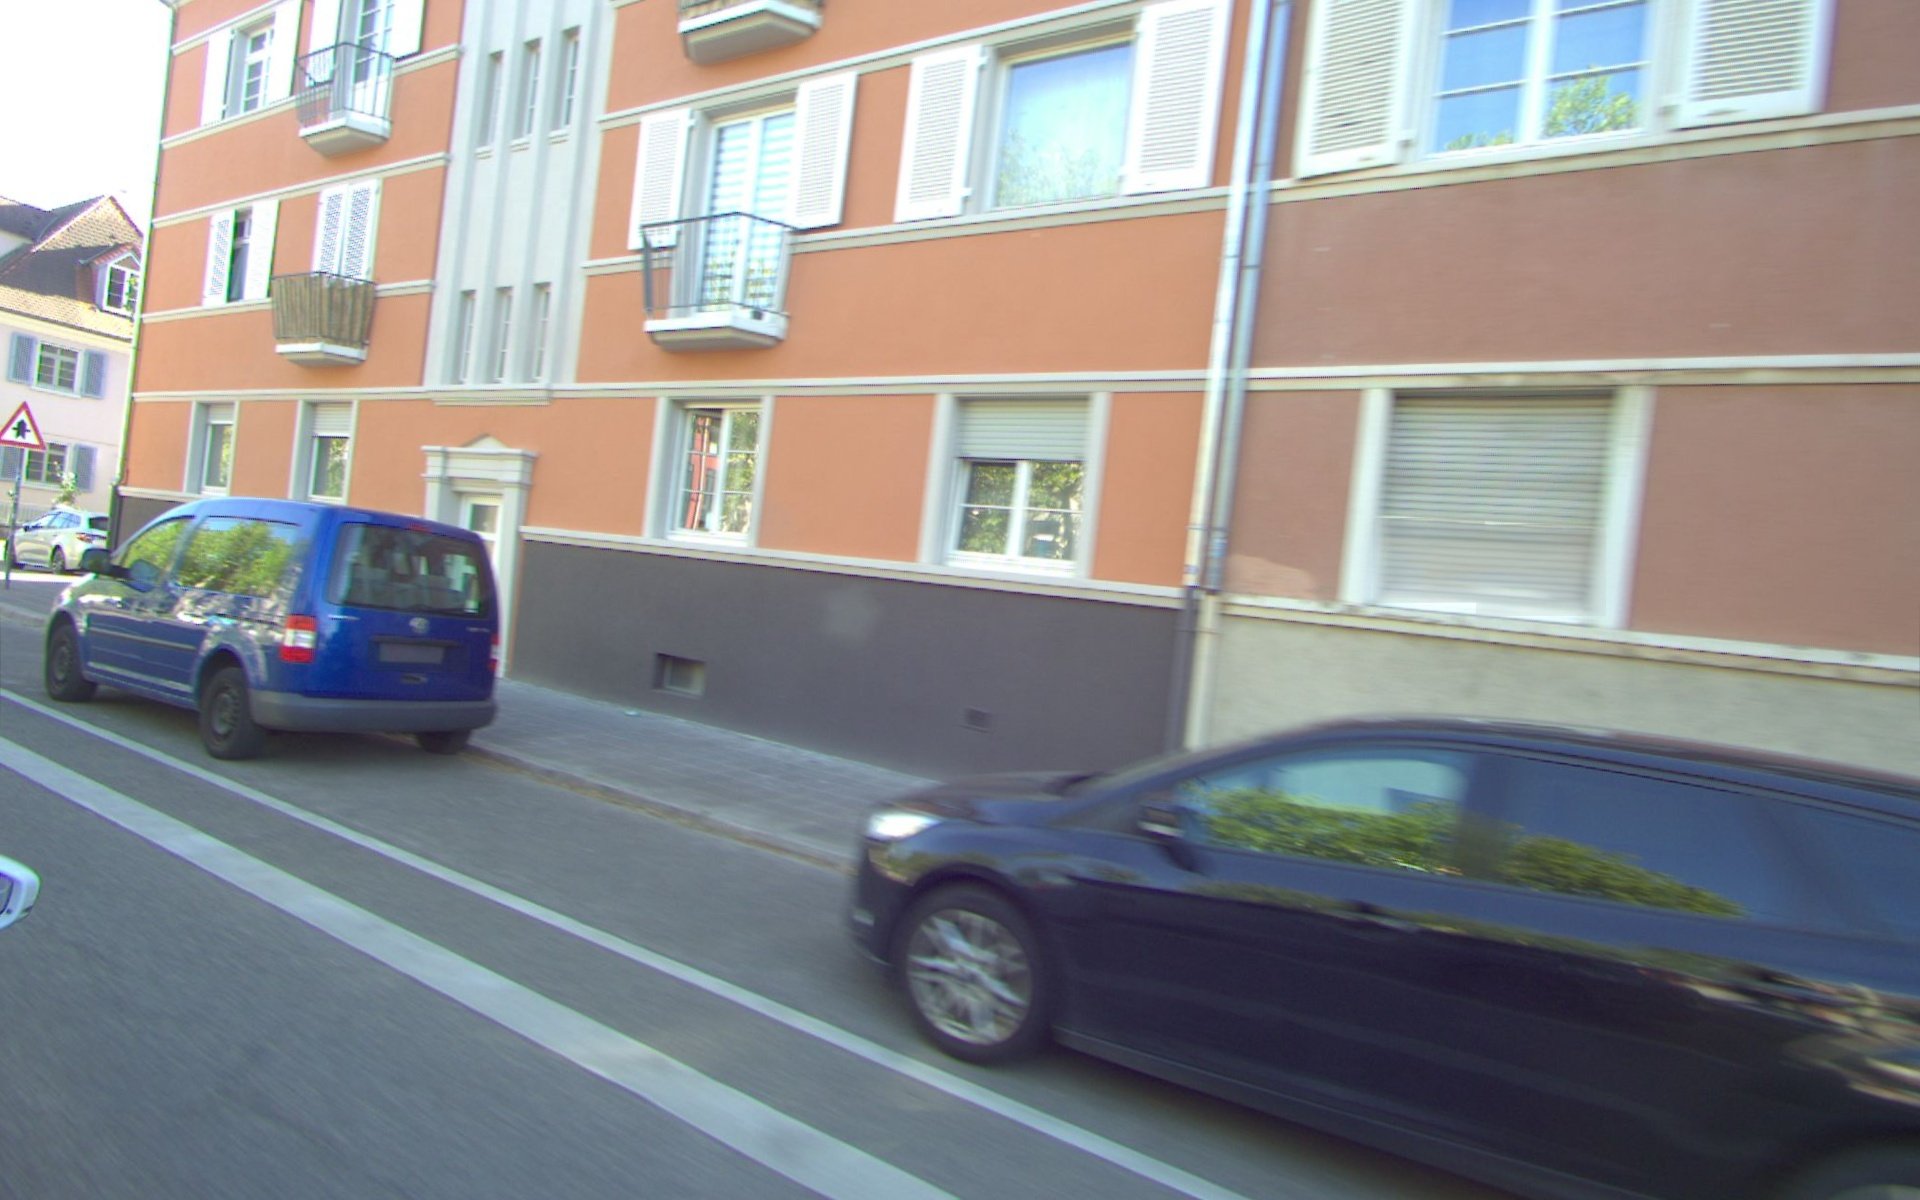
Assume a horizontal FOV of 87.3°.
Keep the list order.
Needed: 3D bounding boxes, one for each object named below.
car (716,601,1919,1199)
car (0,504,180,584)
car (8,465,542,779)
[{"bbox_3d":[1.580,1.104,3.618,4.681,1.528,1.759,7,-2,29],"label":"car"},{"bbox_3d":[-18.876,-1.230,21.619,4.440,1.406,1.705,4,-1,30],"label":"car"},{"bbox_3d":[-5.576,0.090,8.079,4.199,1.831,1.707,7,-2,30],"label":"car"}]
